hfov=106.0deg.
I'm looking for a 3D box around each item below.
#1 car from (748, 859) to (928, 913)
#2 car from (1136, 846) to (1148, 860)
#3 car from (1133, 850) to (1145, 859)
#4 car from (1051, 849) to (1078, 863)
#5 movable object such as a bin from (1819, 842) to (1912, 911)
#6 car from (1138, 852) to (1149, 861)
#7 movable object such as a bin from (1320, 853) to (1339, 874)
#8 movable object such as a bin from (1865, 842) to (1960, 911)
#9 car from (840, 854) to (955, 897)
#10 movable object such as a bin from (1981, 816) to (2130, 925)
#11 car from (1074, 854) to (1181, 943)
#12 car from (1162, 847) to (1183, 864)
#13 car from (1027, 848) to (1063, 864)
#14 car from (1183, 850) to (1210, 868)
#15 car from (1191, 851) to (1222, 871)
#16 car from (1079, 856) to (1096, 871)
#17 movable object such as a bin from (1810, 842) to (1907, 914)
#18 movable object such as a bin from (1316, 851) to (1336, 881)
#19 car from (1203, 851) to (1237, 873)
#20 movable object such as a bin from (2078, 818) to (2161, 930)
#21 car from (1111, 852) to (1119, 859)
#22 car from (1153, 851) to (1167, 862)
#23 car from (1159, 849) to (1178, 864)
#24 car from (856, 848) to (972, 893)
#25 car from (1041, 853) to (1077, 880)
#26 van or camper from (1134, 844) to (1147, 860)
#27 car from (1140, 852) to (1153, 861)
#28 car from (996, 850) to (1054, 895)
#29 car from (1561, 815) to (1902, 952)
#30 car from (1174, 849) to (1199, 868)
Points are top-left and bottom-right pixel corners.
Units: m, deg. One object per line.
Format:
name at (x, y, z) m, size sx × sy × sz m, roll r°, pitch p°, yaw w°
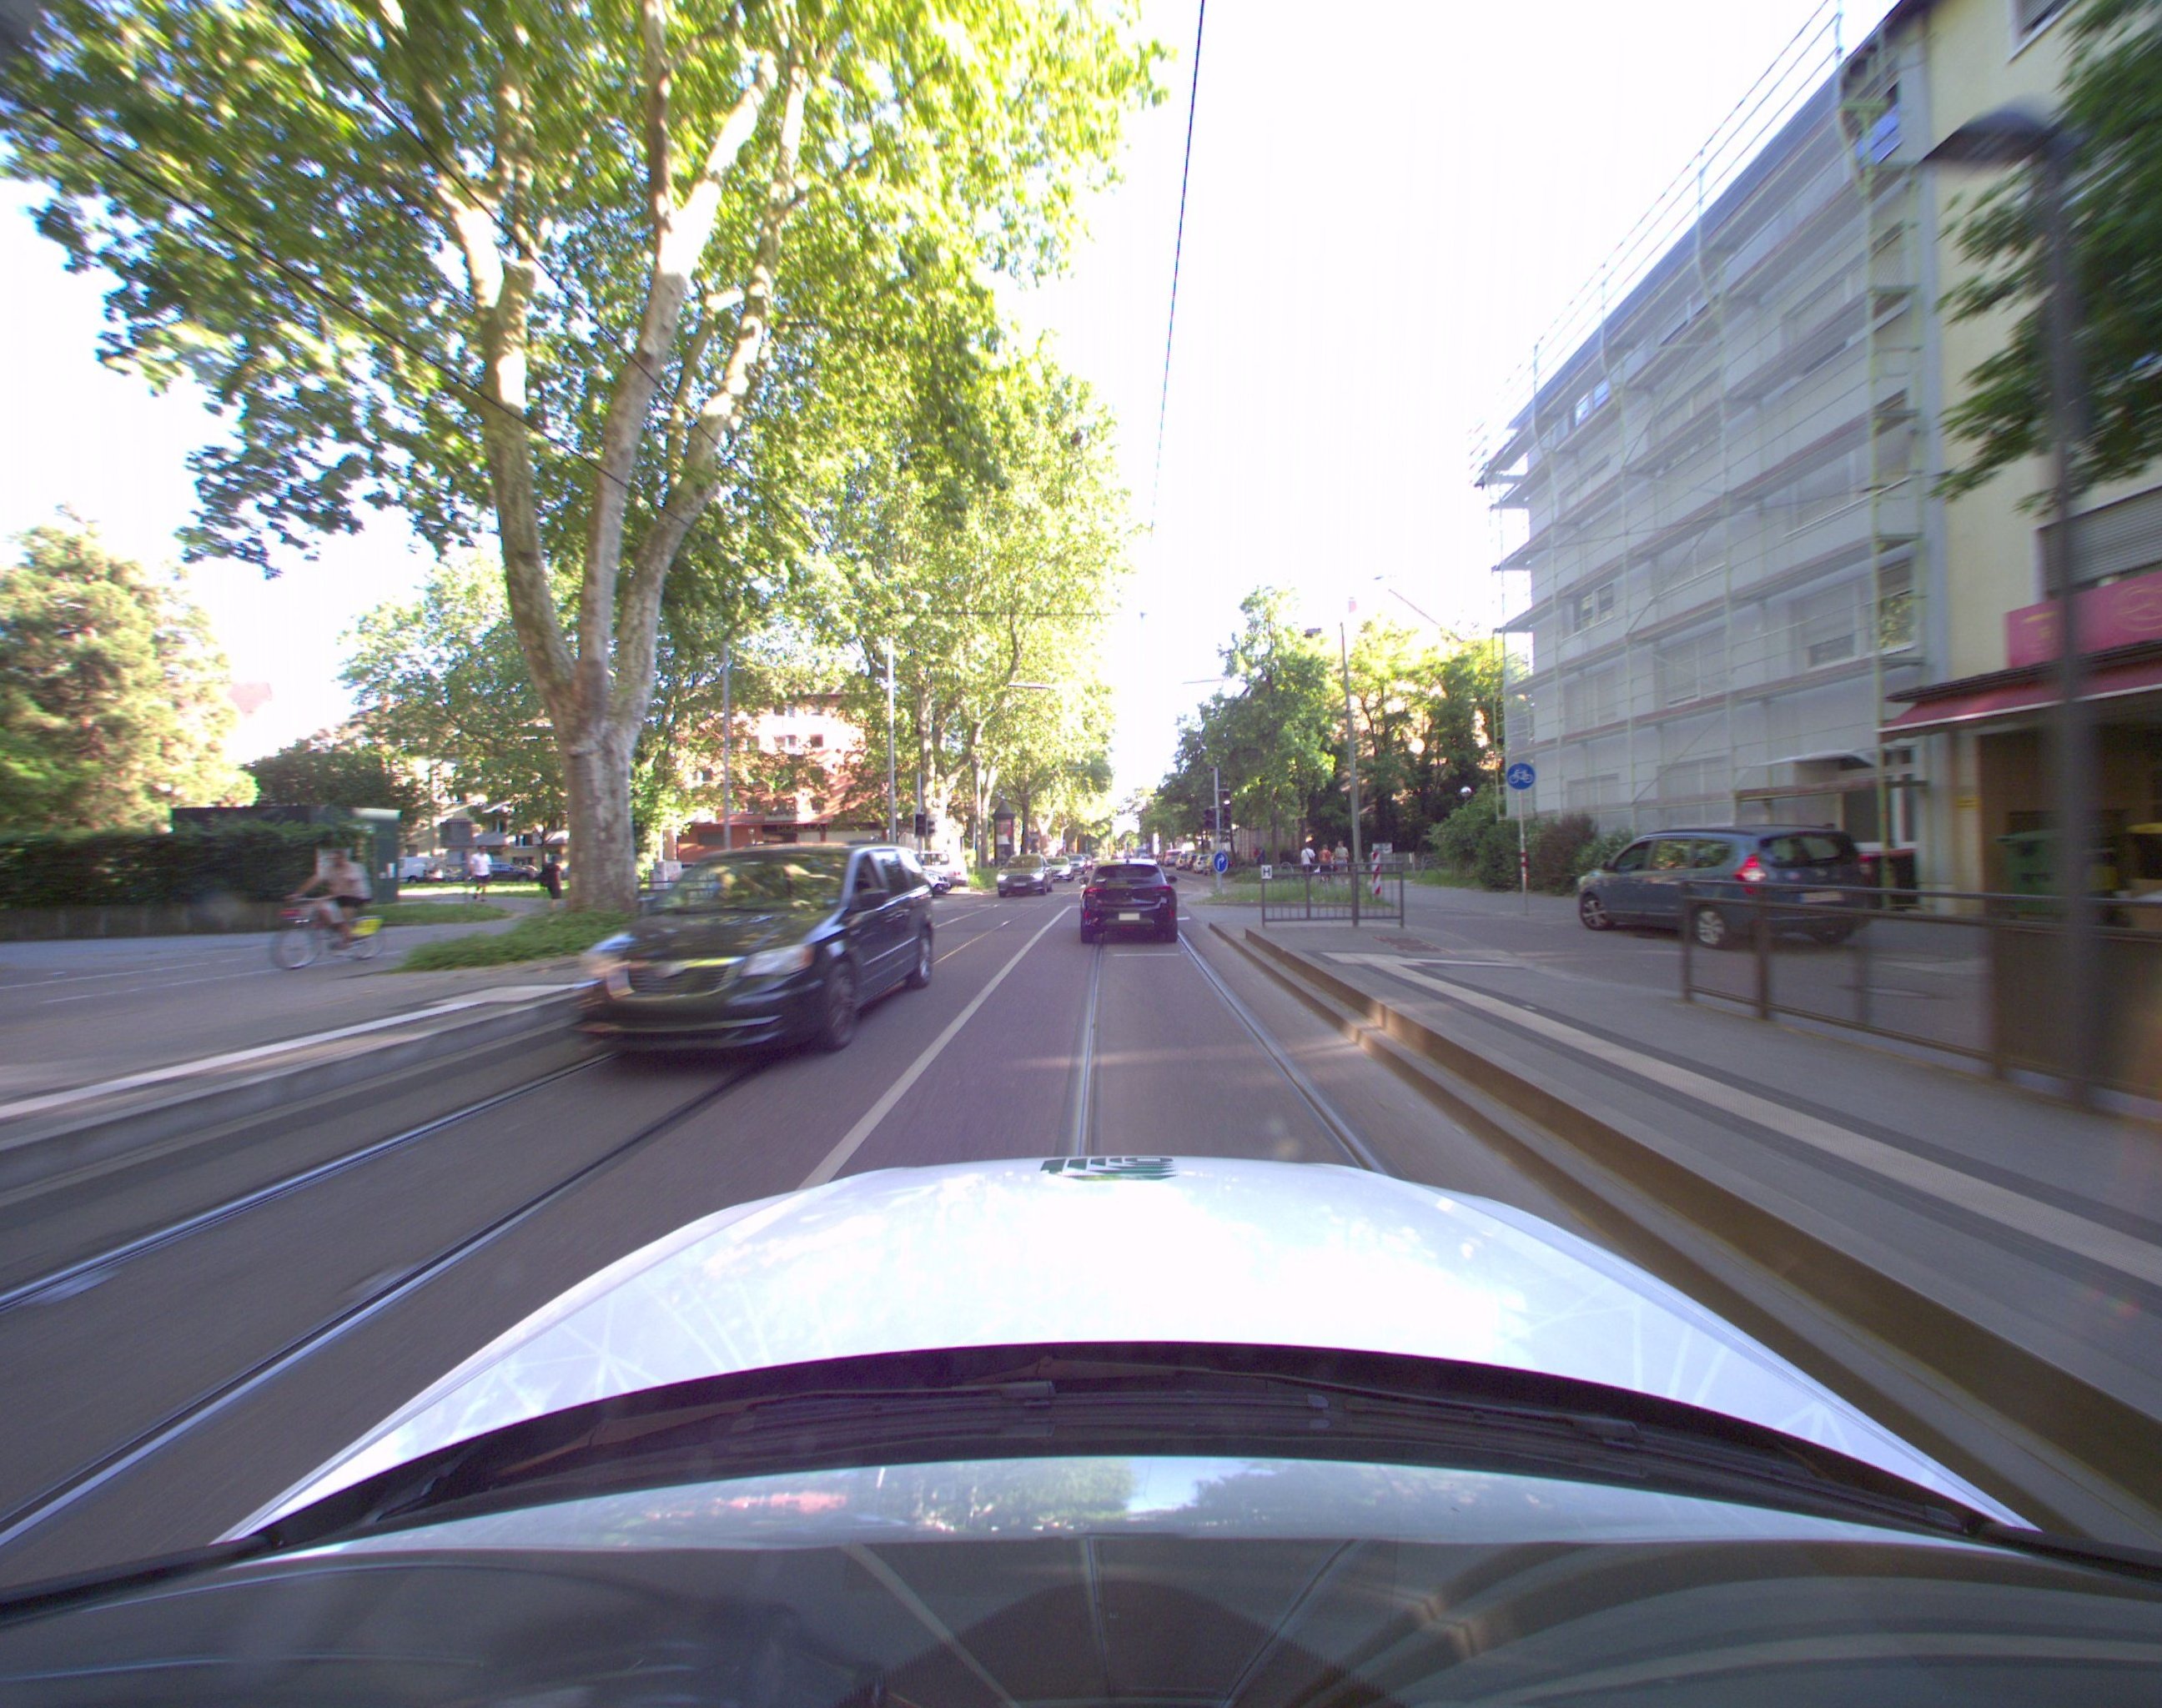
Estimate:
car at (-7.087, 0.912, 24.166) m, size 4.753 × 1.460 × 1.953 m, roll 0°, pitch 0°, yaw -3°
car at (12.073, -0.197, 160.777) m, size 2.077 × 2.772 × 4.699 m, roll -3°, pitch 0°, yaw 2°
car at (12.385, 0.180, 174.540) m, size 2.246 × 1.840 × 5.533 m, roll -3°, pitch 0°, yaw 2°
car at (-3.228, 0.430, 160.467) m, size 5.017 × 2.374 × 2.082 m, roll -5°, pitch 0°, yaw 1°
movable object such as a bin at (13.452, 0.376, 13.985) m, size 0.878 × 1.110 × 0.697 m, roll -3°, pitch 0°, yaw -1°
car at (11.816, 0.448, 153.572) m, size 1.797 × 1.434 × 4.001 m, roll -3°, pitch -1°, yaw 2°
movable object such as a bin at (13.359, 0.493, 43.829) m, size 0.664 × 1.126 × 0.955 m, roll 0°, pitch 0°, yaw -6°
movable object such as a bin at (14.199, 0.371, 13.930) m, size 0.878 × 1.110 × 0.697 m, roll -3°, pitch 0°, yaw -1°
car at (-7.239, 0.839, 32.500) m, size 4.126 × 1.646 × 1.902 m, roll 0°, pitch 0°, yaw 0°
movable object such as a bin at (13.301, 0.216, 11.143) m, size 0.996 × 1.397 × 0.824 m, roll -3°, pitch 0°, yaw -1°
car at (0.842, 0.743, 15.477) m, size 1.756 × 1.460 × 3.952 m, roll -1°, pitch 0°, yaw 2°
car at (10.483, 0.185, 93.363) m, size 1.877 × 1.851 × 4.969 m, roll -4°, pitch 0°, yaw 2°
car at (-4.992, 0.311, 114.713) m, size 5.019 × 2.259 × 2.084 m, roll 0°, pitch 0°, yaw -2°
car at (10.341, 0.459, 73.210) m, size 1.877 × 1.467 × 4.595 m, roll -4°, pitch 0°, yaw 2°
car at (9.786, 0.517, 63.835) m, size 1.877 × 1.368 × 4.108 m, roll -4°, pitch 0°, yaw 2°
car at (0.678, 0.930, 81.589) m, size 1.655 × 1.444 × 3.472 m, roll 0°, pitch 0°, yaw 0°
movable object such as a bin at (12.824, 0.389, 13.454) m, size 0.878 × 1.110 × 0.697 m, roll -3°, pitch 0°, yaw -1°
movable object such as a bin at (10.338, 0.498, 34.359) m, size 0.634 × 1.202 × 1.309 m, roll -3°, pitch 0°, yaw 12°
car at (9.699, 0.544, 57.185) m, size 1.667 × 1.412 × 3.842 m, roll -4°, pitch 0°, yaw 0°
movable object such as a bin at (13.584, 0.229, 10.281) m, size 0.920 × 1.350 × 0.824 m, roll -3°, pitch 0°, yaw -1°
car at (9.610, 0.376, 229.041) m, size 2.246 × 1.840 × 5.533 m, roll -3°, pitch 0°, yaw 2°
car at (11.353, 0.400, 117.304) m, size 1.696 × 1.423 × 3.980 m, roll -5°, pitch 0°, yaw 2°
car at (11.004, 0.277, 102.716) m, size 1.878 × 1.766 × 4.680 m, roll -2°, pitch 0°, yaw 2°
car at (-7.073, 0.684, 34.841) m, size 4.556 × 1.834 × 1.938 m, roll 0°, pitch 0°, yaw 0°
car at (-1.245, 0.696, 47.492) m, size 1.768 × 1.461 × 4.207 m, roll -1°, pitch 0°, yaw 2°
van or camper at (12.244, -0.455, 167.344) m, size 2.246 × 3.216 × 5.533 m, roll -3°, pitch 0°, yaw 2°
car at (11.531, 0.404, 143.477) m, size 1.877 × 1.434 × 4.532 m, roll -4°, pitch 0°, yaw 2°
car at (-2.194, 0.705, 32.852) m, size 1.901 × 1.638 × 4.321 m, roll -2°, pitch 0°, yaw 1°
car at (9.436, 0.350, 12.399) m, size 1.755 × 1.621 × 4.445 m, roll -3°, pitch 0°, yaw 3°
car at (10.091, 0.428, 78.061) m, size 1.877 × 1.568 × 4.243 m, roll -4°, pitch 0°, yaw 2°
